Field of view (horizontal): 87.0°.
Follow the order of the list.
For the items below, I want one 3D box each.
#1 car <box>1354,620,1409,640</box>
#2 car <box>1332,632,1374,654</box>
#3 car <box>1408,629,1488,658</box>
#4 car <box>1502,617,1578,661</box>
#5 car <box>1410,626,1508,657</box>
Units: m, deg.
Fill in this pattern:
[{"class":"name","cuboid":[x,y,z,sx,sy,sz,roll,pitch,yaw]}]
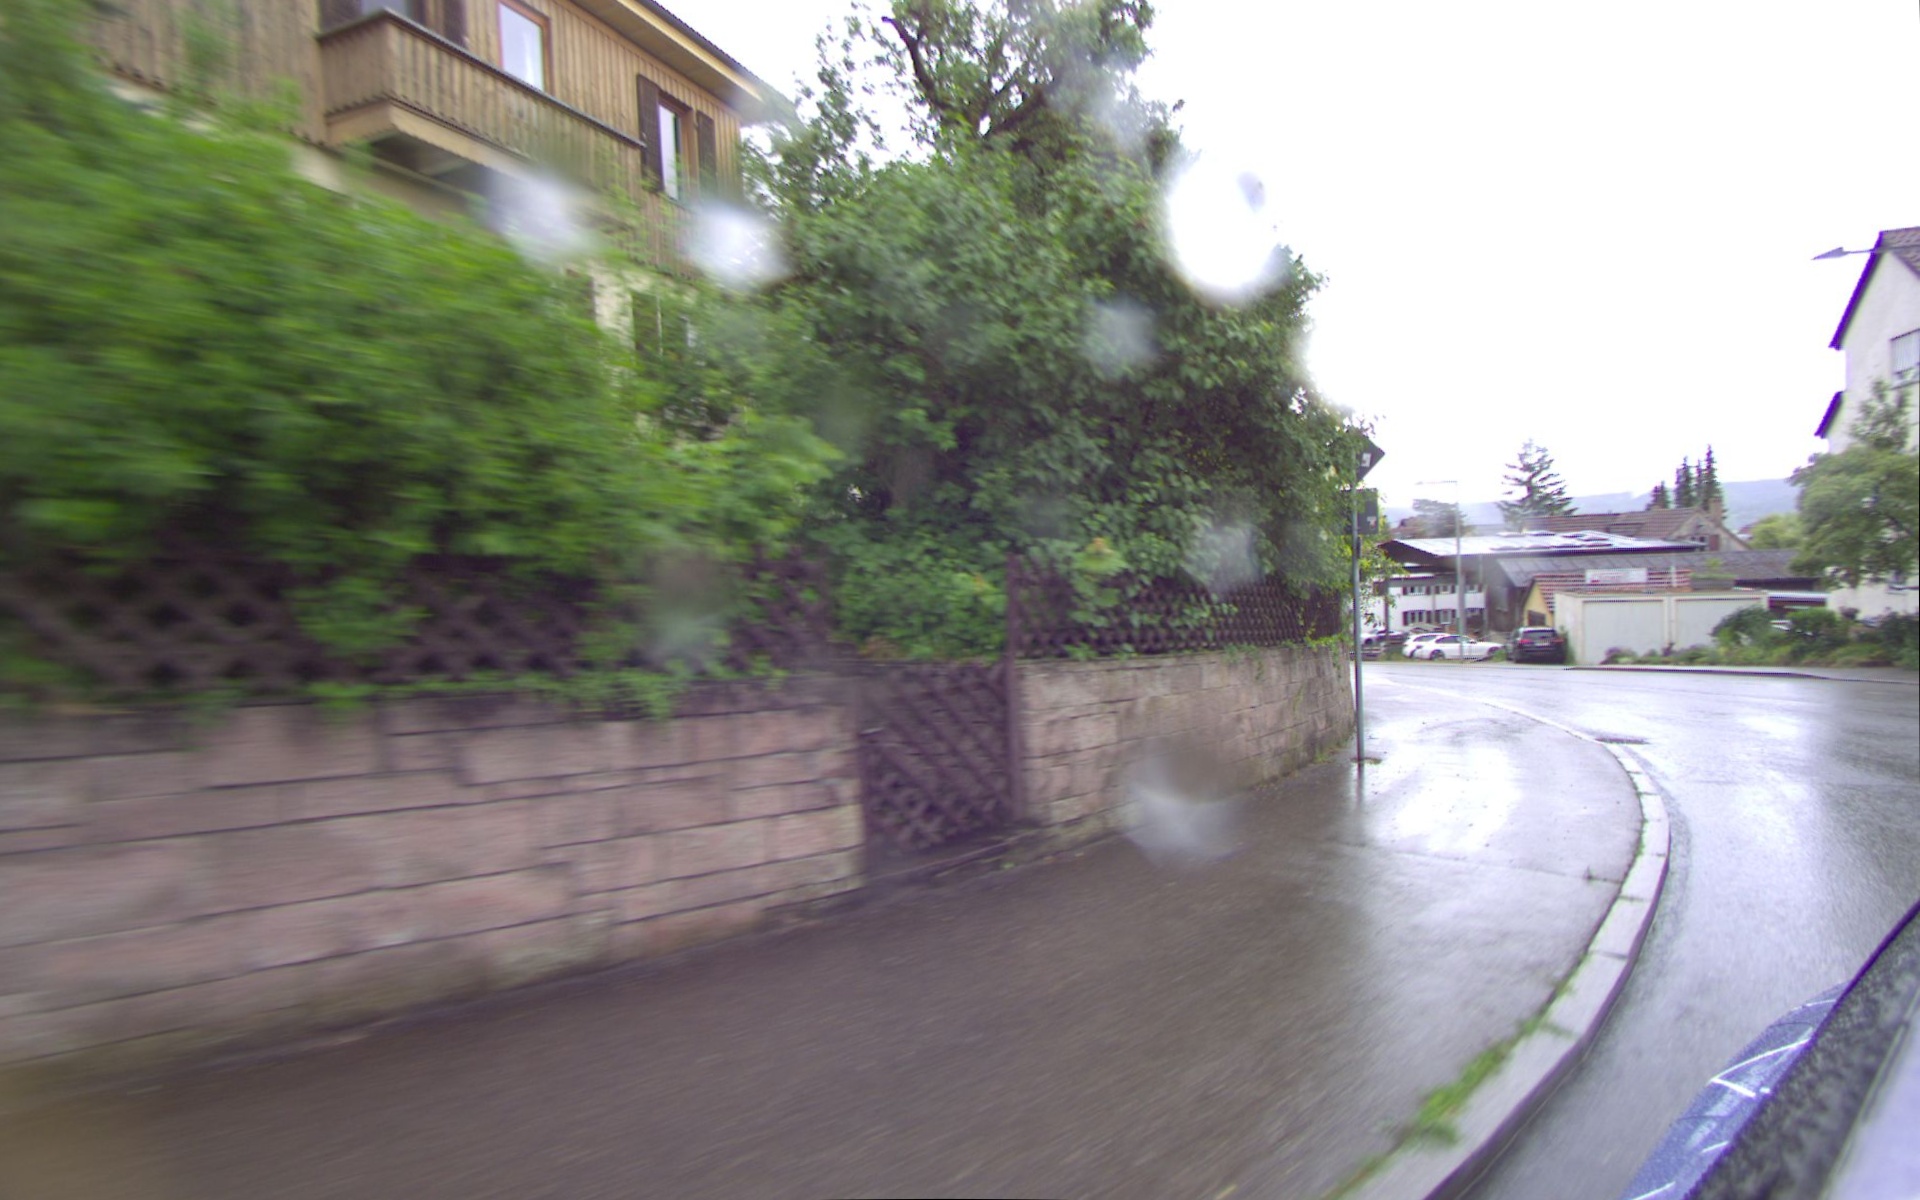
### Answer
[{"class":"car","cuboid":[35.878,2.559,86.269,3.935,1.527,1.798,-1,0,10]},{"class":"car","cuboid":[27.069,2.986,69.834,1.870,1.460,4.430,0,-2,10]},{"class":"car","cuboid":[27.489,2.442,57.069,3.962,1.525,1.881,-3,-3,28]},{"class":"car","cuboid":[24.016,1.612,42.059,1.957,1.681,4.925,-2,-3,21]},{"class":"car","cuboid":[26.578,2.242,54.076,4.456,1.525,1.886,-2,-3,21]}]
